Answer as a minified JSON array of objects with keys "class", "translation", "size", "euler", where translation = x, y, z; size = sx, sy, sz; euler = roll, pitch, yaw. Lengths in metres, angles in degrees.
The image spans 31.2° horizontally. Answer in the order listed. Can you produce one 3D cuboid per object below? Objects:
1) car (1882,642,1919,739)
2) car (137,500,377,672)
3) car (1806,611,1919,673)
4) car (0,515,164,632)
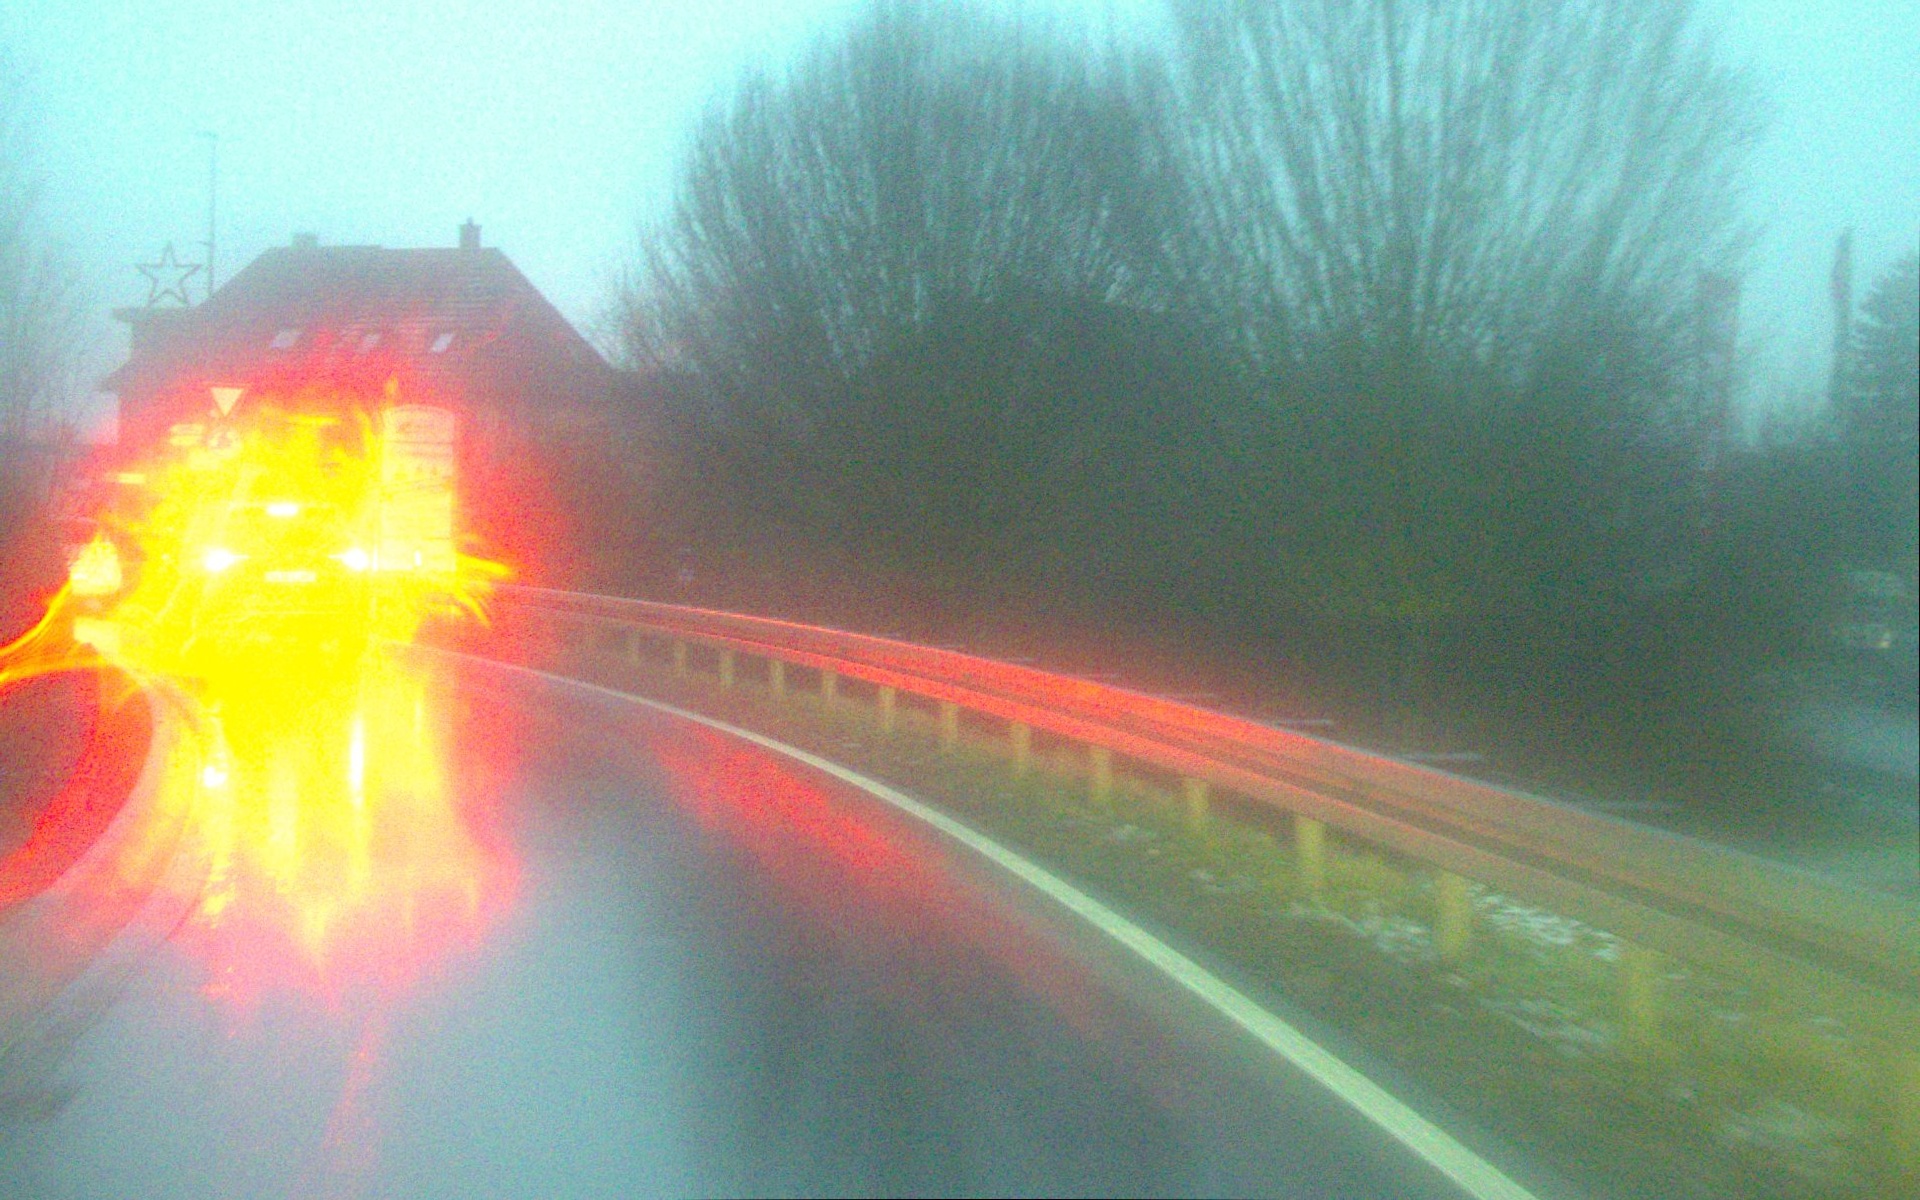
[{"class":"car","translation":[17.363,1.565,59.993],"size":[1.937,1.541,3.999],"euler":[1,1,7]},{"class":"car","translation":[-7.674,-0.172,37.250],"size":[1.944,1.712,4.001],"euler":[2,0,-20]},{"class":"car","translation":[22.983,1.052,87.346],"size":[1.912,1.481,3.994],"euler":[1,0,29]},{"class":"car","translation":[-14.131,-0.451,54.751],"size":[2.163,1.683,4.573],"euler":[1,2,-21]}]
